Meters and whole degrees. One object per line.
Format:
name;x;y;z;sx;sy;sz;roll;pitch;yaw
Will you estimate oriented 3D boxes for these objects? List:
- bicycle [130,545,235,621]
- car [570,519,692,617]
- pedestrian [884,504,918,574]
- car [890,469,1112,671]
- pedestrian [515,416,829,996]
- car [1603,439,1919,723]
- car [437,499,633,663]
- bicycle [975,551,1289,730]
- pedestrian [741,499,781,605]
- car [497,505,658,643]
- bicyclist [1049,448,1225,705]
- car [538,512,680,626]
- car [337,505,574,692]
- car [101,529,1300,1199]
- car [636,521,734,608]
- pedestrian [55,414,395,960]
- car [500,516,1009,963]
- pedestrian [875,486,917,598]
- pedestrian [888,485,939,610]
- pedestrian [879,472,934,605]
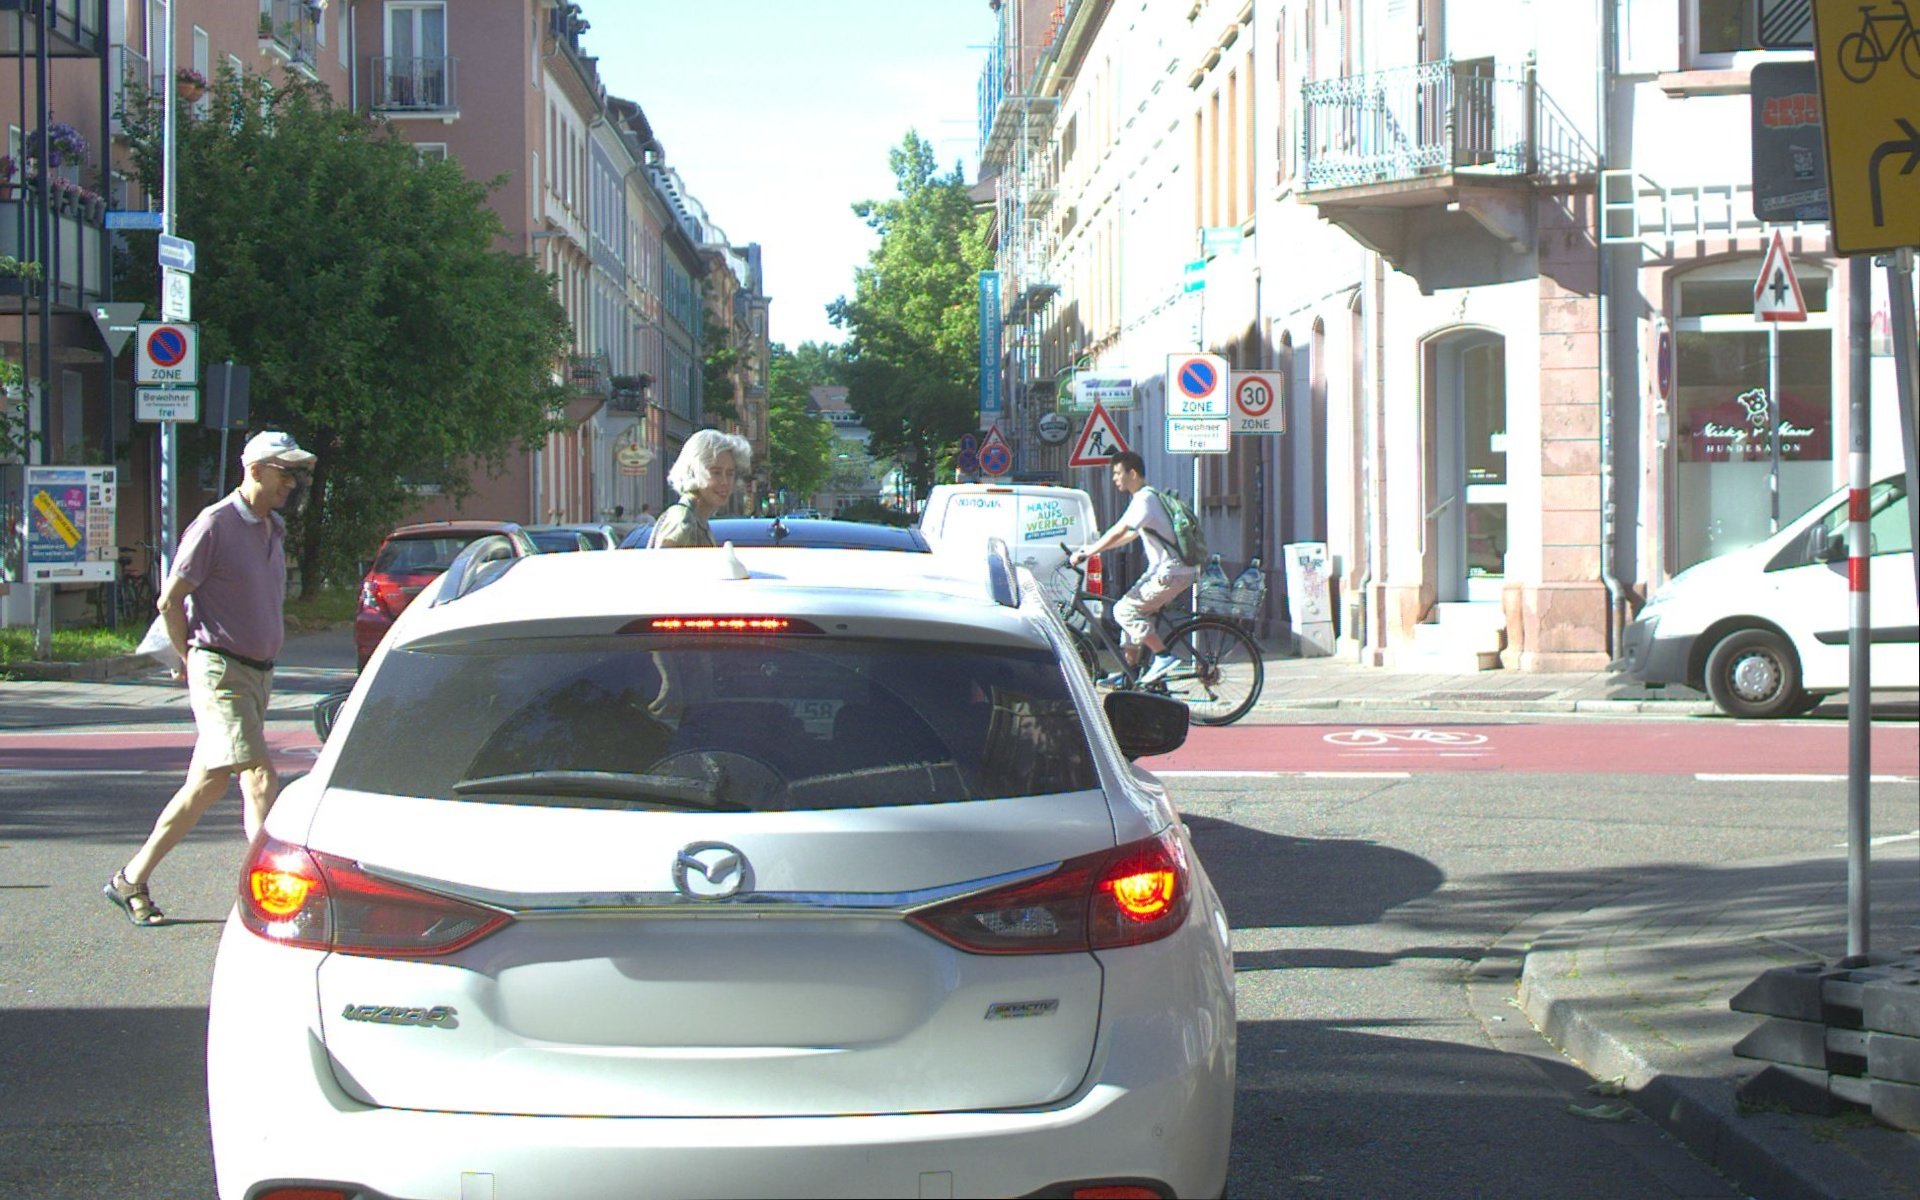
bicycle;-9.769;-0.218;43.160;0.603;0.929;1.915;-1;1;-34
car;-5.123;-0.512;53.872;1.602;1.472;3.567;-1;1;-1
pedestrian;-1.382;-1.412;80.003;0.771;1.621;0.835;-1;1;-1
car;0.357;-0.332;35.276;1.942;1.941;4.079;0;1;-4
pedestrian;-0.917;0.324;11.156;0.853;1.809;0.815;-1;1;6
car;7.165;-0.113;24.081;4.895;1.922;1.997;1;-1;23
car;-4.590;-0.232;37.567;1.720;1.677;3.726;-1;1;-1
bicycle;1.135;0.259;22.461;2.008;1.140;0.683;-1;1;6
pedestrian;-3.405;-0.822;58.869;0.647;1.791;0.639;-1;1;-1
car;-4.745;-0.336;43.079;1.635;1.650;3.785;0;1;-1
bicyclist;1.164;-0.155;22.449;1.091;1.638;0.756;-1;1;6
car;-5.050;-0.461;49.860;1.720;1.571;3.726;-1;1;-1
car;-4.626;-0.067;31.968;1.769;1.583;3.727;-1;2;-2
car;-0.467;0.618;7.164;1.823;1.509;3.824;0;1;-2
car;-5.108;-0.667;64.183;1.572;1.580;3.611;-1;1;-1
pedestrian;-2.578;0.268;12.071;0.968;1.832;0.681;2;3;34
car;-0.753;0.424;13.304;1.682;1.476;3.661;-1;1;-2
pedestrian;-1.204;-1.104;65.237;0.771;2.111;0.835;-1;1;-1
pedestrian;-0.716;-0.812;53.334;0.771;1.912;0.835;-1;1;-1
pedestrian;-0.776;-0.891;49.878;0.771;1.912;0.835;-1;1;-1
